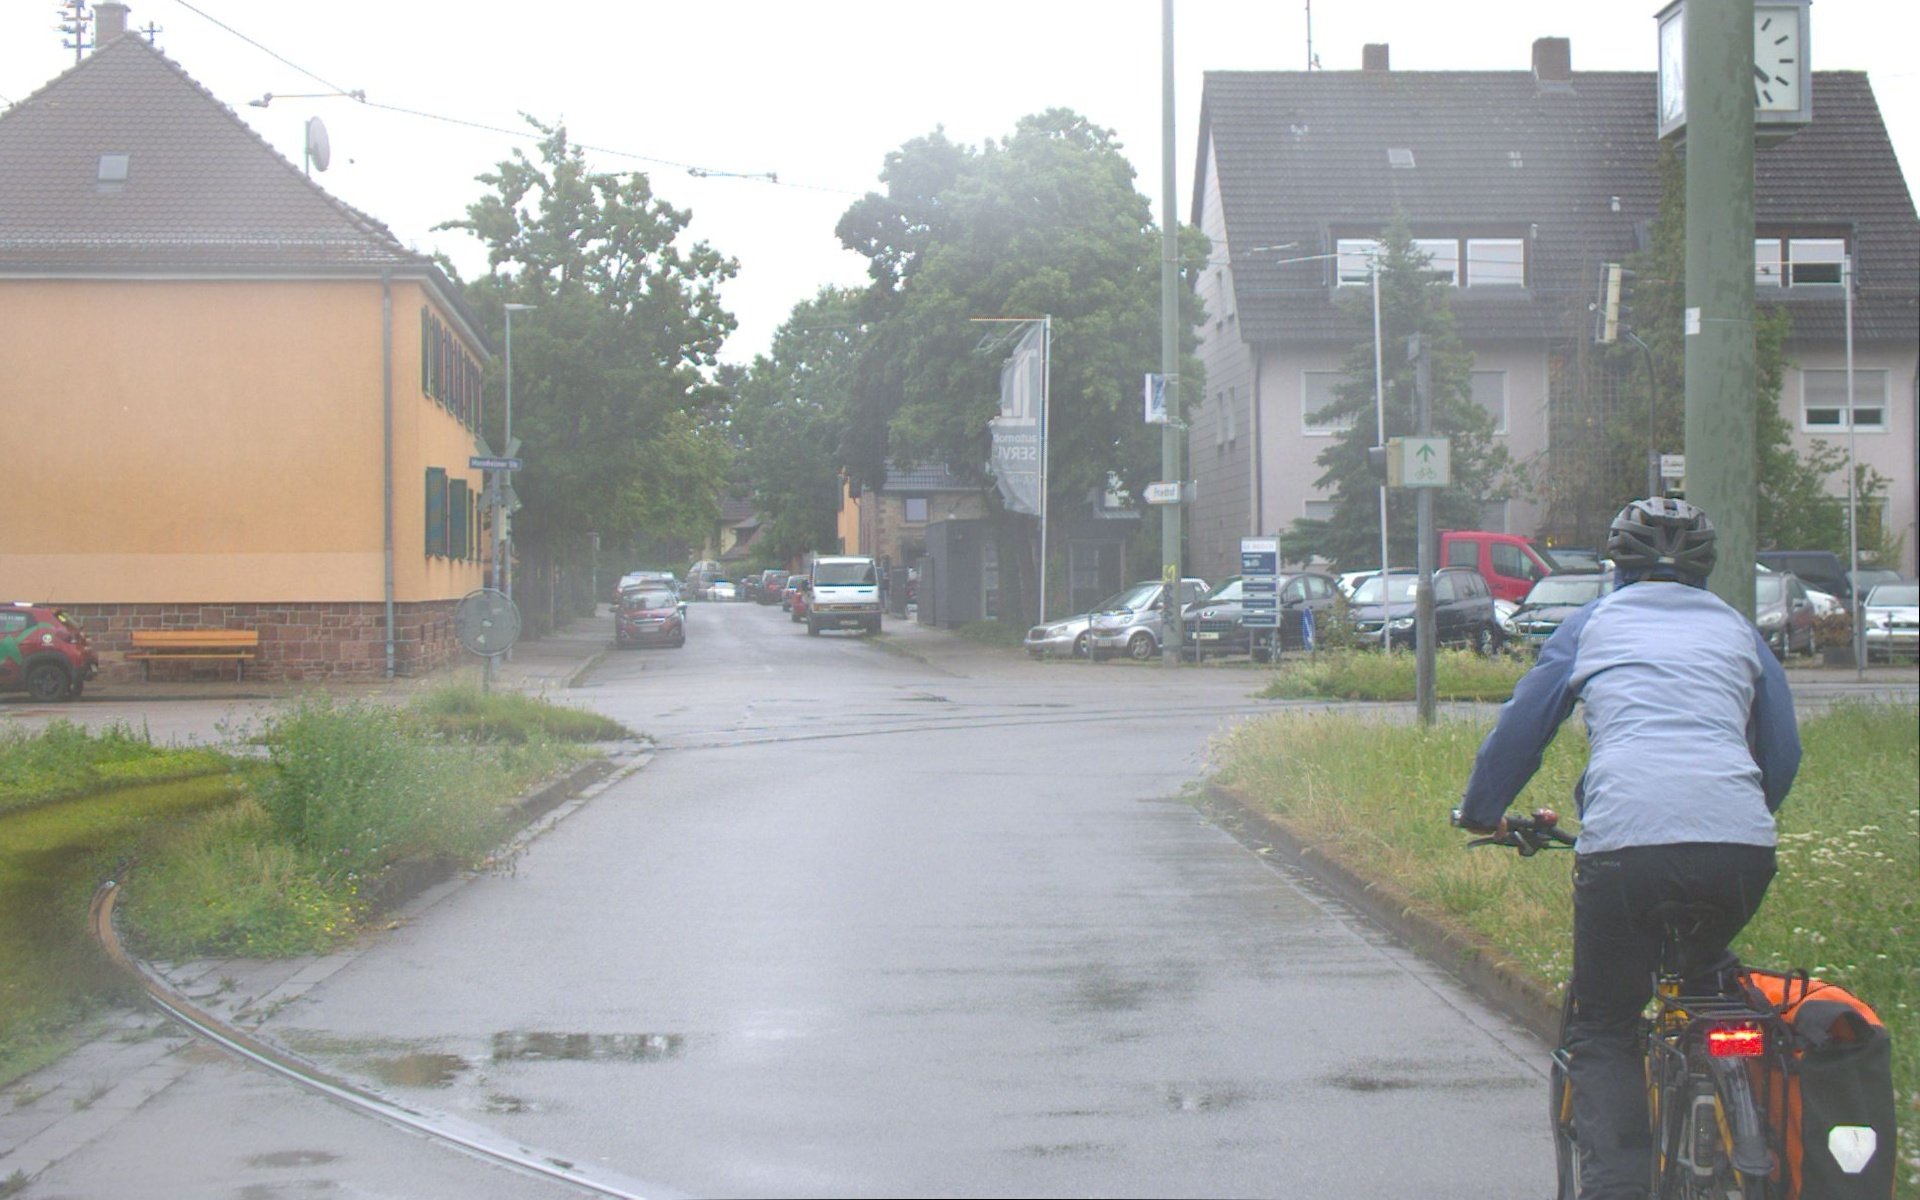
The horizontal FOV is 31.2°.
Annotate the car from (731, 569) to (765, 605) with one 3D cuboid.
[{"bbox_3d":[-12.282,-0.750,199.196,1.828,2.007,4.001,2,0,-5],"label":"car"}]

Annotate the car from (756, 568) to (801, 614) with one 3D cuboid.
[{"bbox_3d":[-8.134,-0.410,153.742,1.828,2.007,4.001,2,0,-5],"label":"car"}]

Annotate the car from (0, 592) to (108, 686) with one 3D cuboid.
[{"bbox_3d":[-14.846,0.548,51.852,3.604,1.334,1.723,2,0,-5],"label":"car"}]

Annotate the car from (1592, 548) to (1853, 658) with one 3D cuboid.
[{"bbox_3d":[14.276,0.065,64.562,4.432,2.007,2.000,0,-1,0],"label":"car"}]

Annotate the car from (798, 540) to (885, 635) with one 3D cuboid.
[{"bbox_3d":[-3.365,-0.357,96.933,2.153,2.564,4.134,2,0,-5],"label":"car"}]

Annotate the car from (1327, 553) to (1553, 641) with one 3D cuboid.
[{"bbox_3d":[9.129,-0.045,65.318,3.969,1.592,1.998,-1,-1,18],"label":"car"}]

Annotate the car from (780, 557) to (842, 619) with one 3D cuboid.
[{"bbox_3d":[-5.015,-0.408,115.827,1.993,2.007,4.000,2,0,-3],"label":"car"}]

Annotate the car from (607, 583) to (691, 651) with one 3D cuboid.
[{"bbox_3d":[-7.586,0.417,84.162,1.993,1.612,4.000,0,0,-5],"label":"car"}]

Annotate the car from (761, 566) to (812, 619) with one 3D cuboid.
[{"bbox_3d":[-6.858,-0.296,135.611,1.828,2.007,4.001,2,0,-5],"label":"car"}]

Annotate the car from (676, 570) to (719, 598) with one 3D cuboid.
[{"bbox_3d":[-17.025,-1.040,222.768,1.828,1.691,4.033,2,0,-19],"label":"car"}]

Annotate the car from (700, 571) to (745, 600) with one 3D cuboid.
[{"bbox_3d":[-15.009,-0.920,217.406,1.828,1.691,4.033,2,0,-19],"label":"car"}]

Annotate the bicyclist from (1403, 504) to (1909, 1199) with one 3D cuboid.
[{"bbox_3d":[1.288,0.577,6.495,0.751,1.480,0.846,-1,0,0],"label":"bicyclist"}]

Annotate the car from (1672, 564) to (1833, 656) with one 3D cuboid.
[{"bbox_3d":[13.828,0.183,59.835,1.830,1.499,4.052,2,0,26],"label":"car"}]

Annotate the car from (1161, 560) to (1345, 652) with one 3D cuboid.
[{"bbox_3d":[5.292,0.086,61.722,1.805,1.573,3.865,-1,0,30],"label":"car"}]

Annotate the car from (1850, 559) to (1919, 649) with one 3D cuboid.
[{"bbox_3d":[16.544,0.082,59.902,1.828,1.499,4.056,2,0,12],"label":"car"}]

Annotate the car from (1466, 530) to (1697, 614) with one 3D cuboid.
[{"bbox_3d":[12.922,-0.576,71.660,4.432,1.682,2.000,0,-1,0],"label":"car"}]

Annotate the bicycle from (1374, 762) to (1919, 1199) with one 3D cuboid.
[{"bbox_3d":[1.302,0.903,6.575,0.752,1.069,1.927,-1,0,0],"label":"bicycle"}]

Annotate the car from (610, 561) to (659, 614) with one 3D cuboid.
[{"bbox_3d":[-12.790,-0.487,135.172,1.828,2.007,4.001,2,0,-5],"label":"car"}]

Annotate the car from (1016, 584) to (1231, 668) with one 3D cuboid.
[{"bbox_3d":[3.254,0.509,68.418,3.858,1.573,1.808,-1,0,-22],"label":"car"}]

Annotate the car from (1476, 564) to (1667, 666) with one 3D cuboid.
[{"bbox_3d":[10.654,0.245,59.684,1.997,1.711,3.993,-1,0,30],"label":"car"}]

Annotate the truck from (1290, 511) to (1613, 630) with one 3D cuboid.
[{"bbox_3d":[9.762,-0.554,68.309,6.088,2.264,1.998,-1,-1,18],"label":"truck"}]

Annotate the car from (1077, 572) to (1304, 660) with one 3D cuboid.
[{"bbox_3d":[4.360,0.292,65.124,3.858,1.573,1.808,-1,0,-22],"label":"car"}]

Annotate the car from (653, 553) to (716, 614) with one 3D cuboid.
[{"bbox_3d":[-9.521,-0.581,118.929,1.993,2.007,4.000,2,0,-3],"label":"car"}]

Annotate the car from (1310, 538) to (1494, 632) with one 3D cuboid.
[{"bbox_3d":[7.758,-0.269,60.111,1.805,1.573,3.865,-1,0,30],"label":"car"}]
